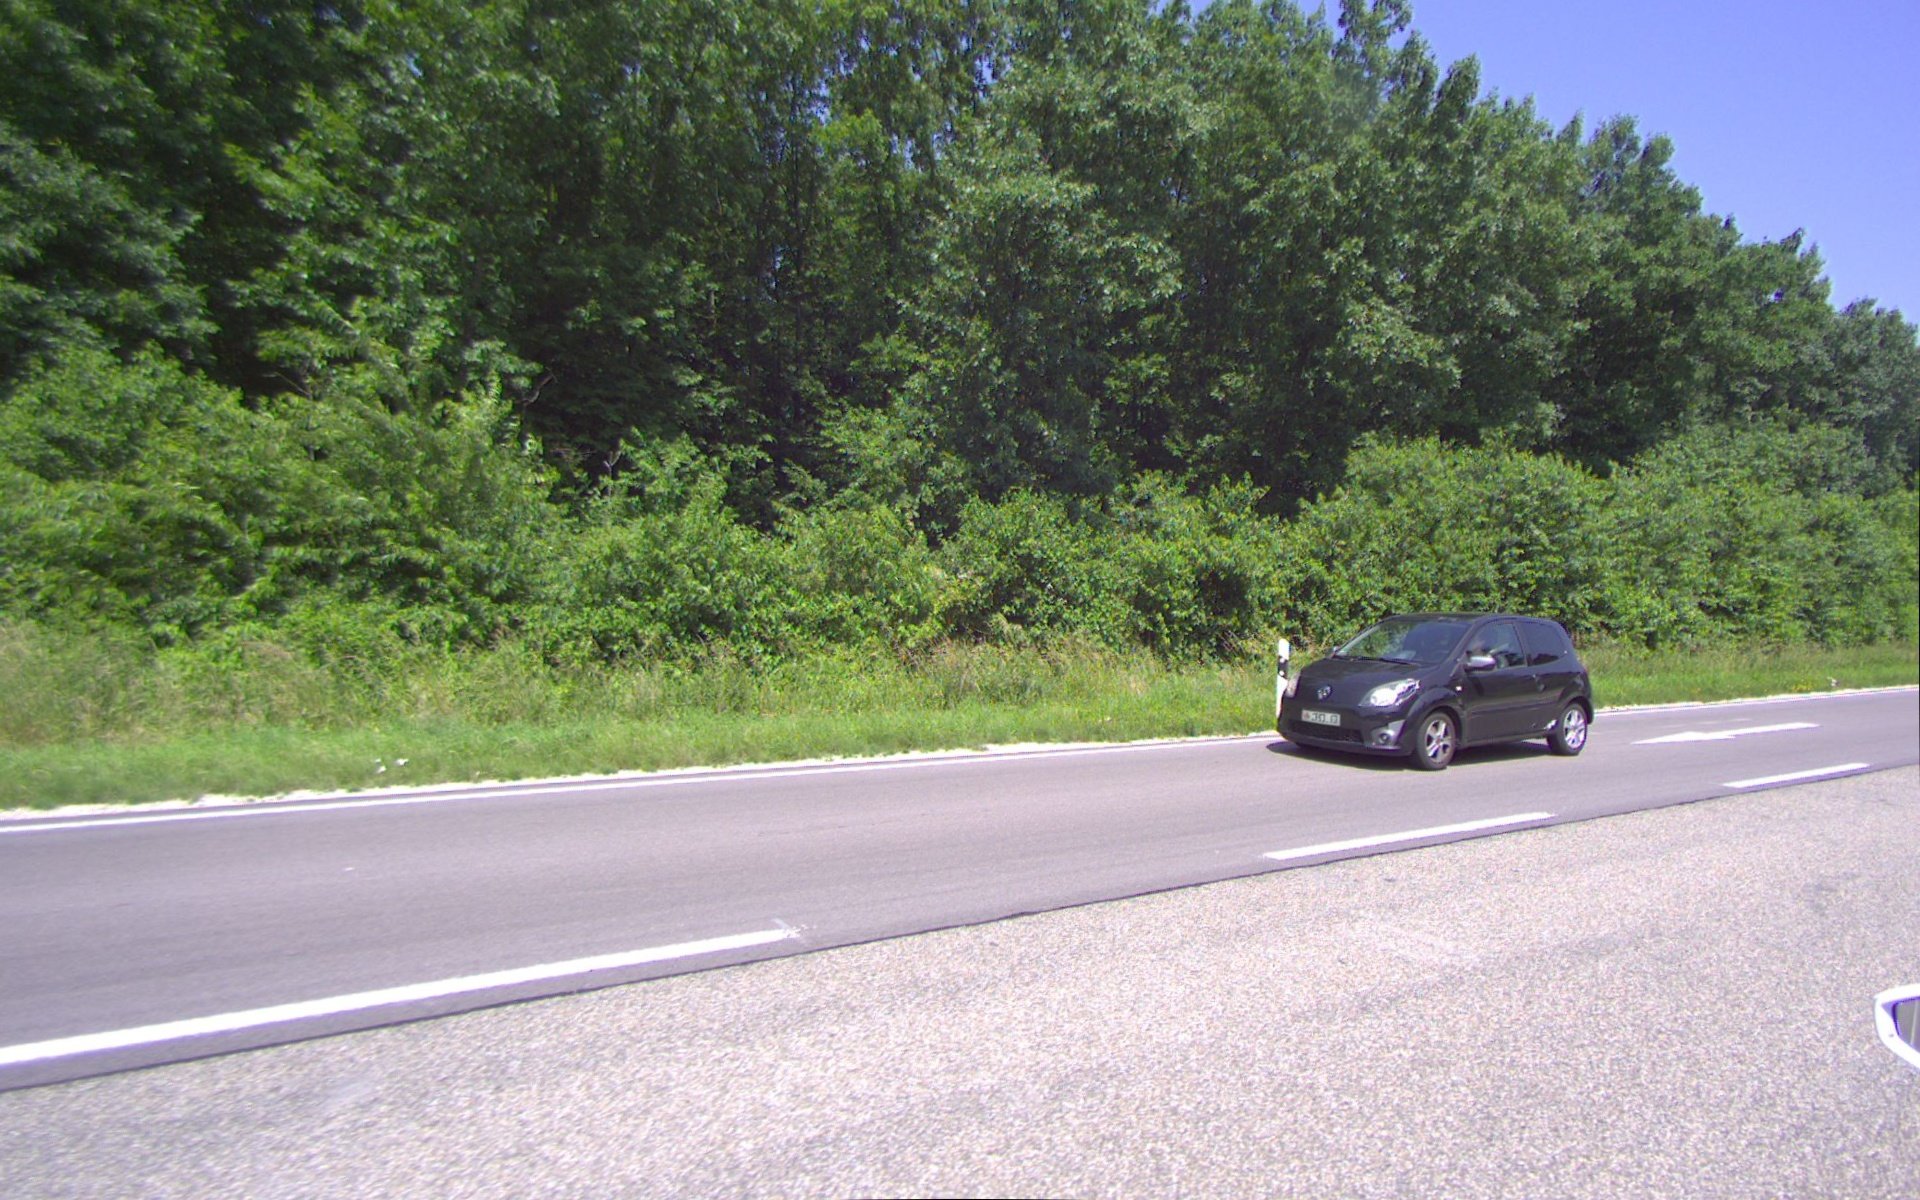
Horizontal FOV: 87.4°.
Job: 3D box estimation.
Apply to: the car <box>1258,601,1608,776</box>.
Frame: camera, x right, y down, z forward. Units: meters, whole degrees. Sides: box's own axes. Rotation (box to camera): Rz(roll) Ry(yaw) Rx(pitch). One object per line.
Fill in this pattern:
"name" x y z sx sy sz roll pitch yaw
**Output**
"car" 4.970 0.812 10.478 3.511 1.522 1.606 1 0 -31
